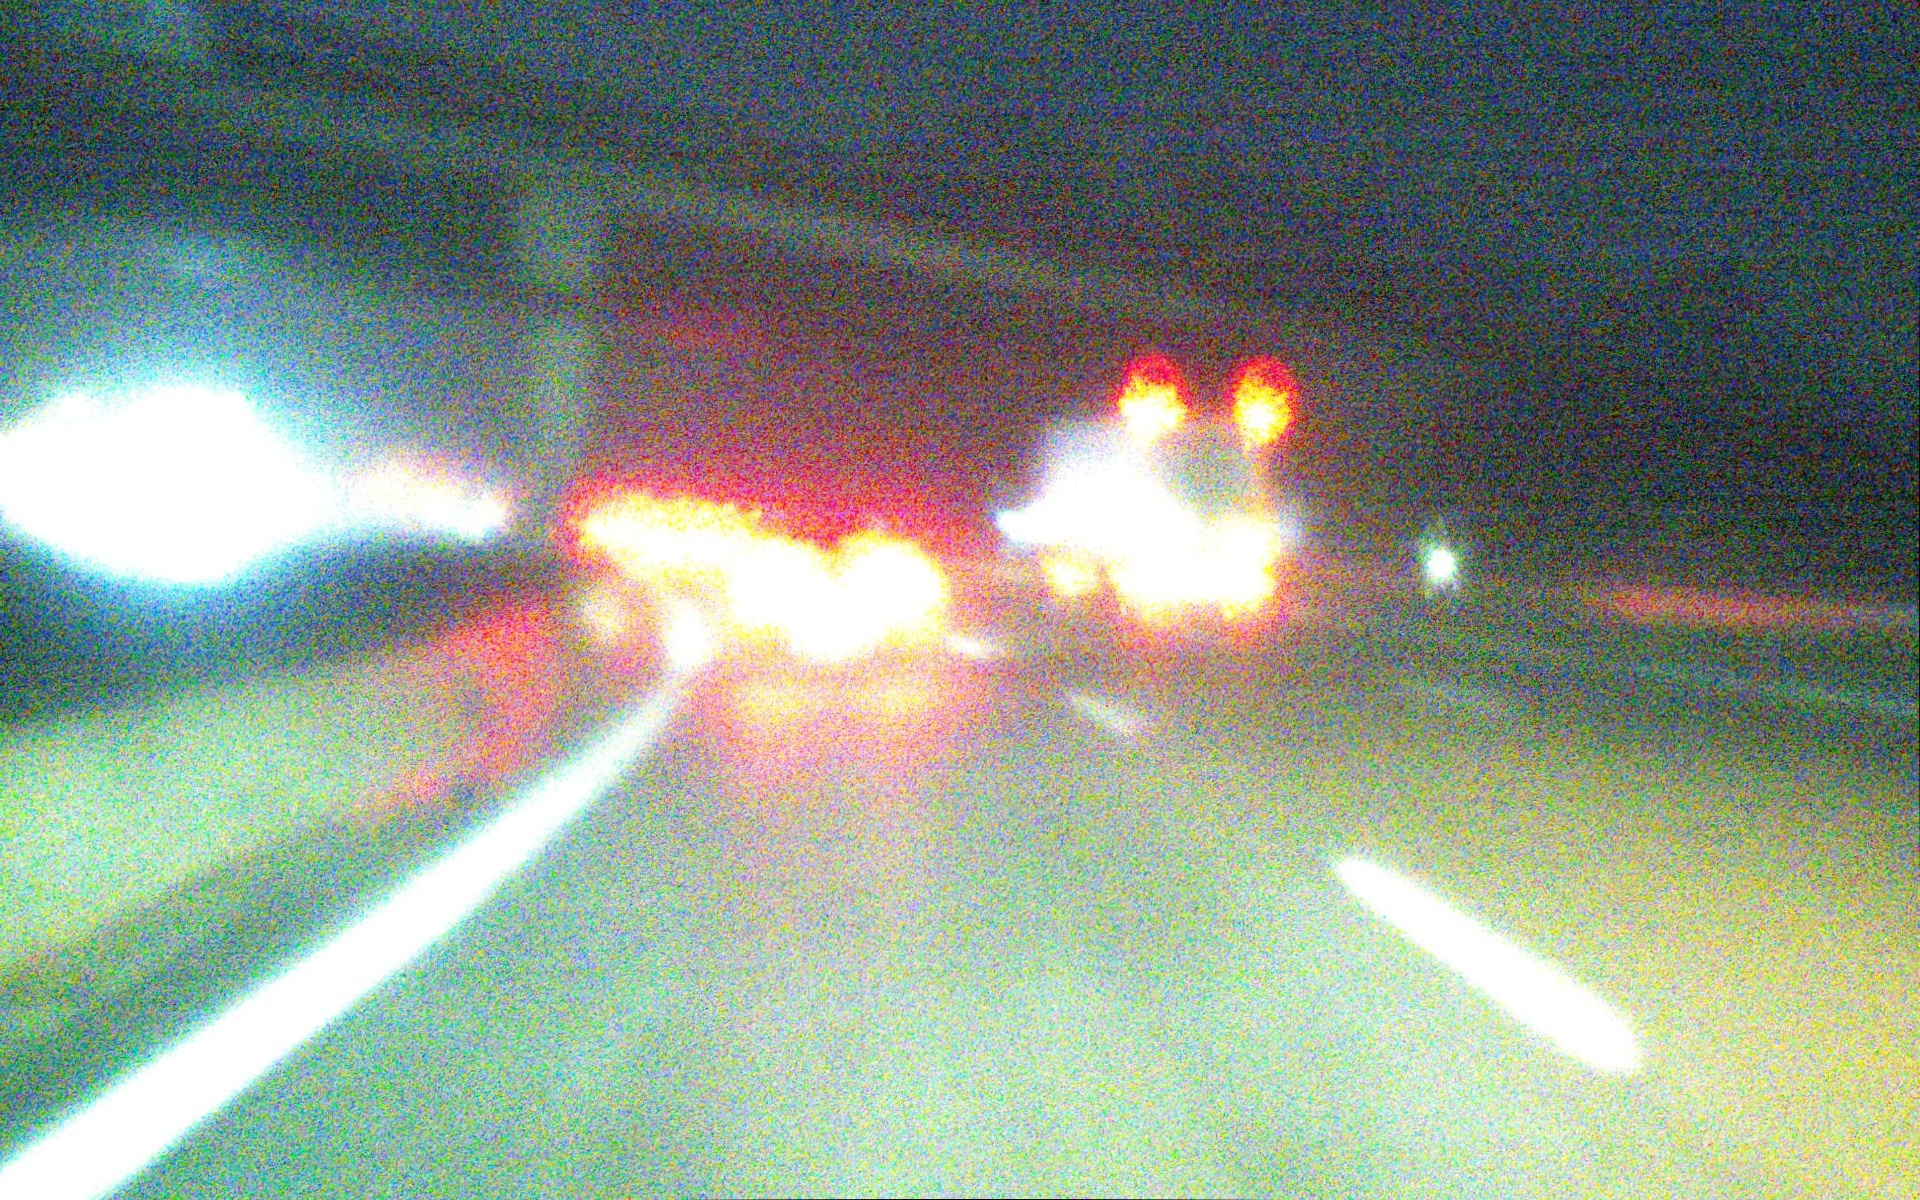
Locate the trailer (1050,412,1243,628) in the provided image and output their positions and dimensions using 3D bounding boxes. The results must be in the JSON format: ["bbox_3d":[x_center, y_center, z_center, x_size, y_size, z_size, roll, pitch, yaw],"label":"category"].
[{"bbox_3d":[3.863,-1.861,74.620,2.739,4.233,13.374,-1,2,-3],"label":"trailer"}]

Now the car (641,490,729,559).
[{"bbox_3d":[-8.196,-2.234,102.276,1.993,2.007,4.001,0,0,-14],"label":"car"}]

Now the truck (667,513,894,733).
[{"bbox_3d":[-1.978,0.158,39.876,2.145,2.070,6.604,5,2,0],"label":"truck"}]

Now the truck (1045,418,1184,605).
[{"bbox_3d":[3.601,-2.100,81.265,2.710,4.226,5.294,1,2,-3],"label":"truck"}]
